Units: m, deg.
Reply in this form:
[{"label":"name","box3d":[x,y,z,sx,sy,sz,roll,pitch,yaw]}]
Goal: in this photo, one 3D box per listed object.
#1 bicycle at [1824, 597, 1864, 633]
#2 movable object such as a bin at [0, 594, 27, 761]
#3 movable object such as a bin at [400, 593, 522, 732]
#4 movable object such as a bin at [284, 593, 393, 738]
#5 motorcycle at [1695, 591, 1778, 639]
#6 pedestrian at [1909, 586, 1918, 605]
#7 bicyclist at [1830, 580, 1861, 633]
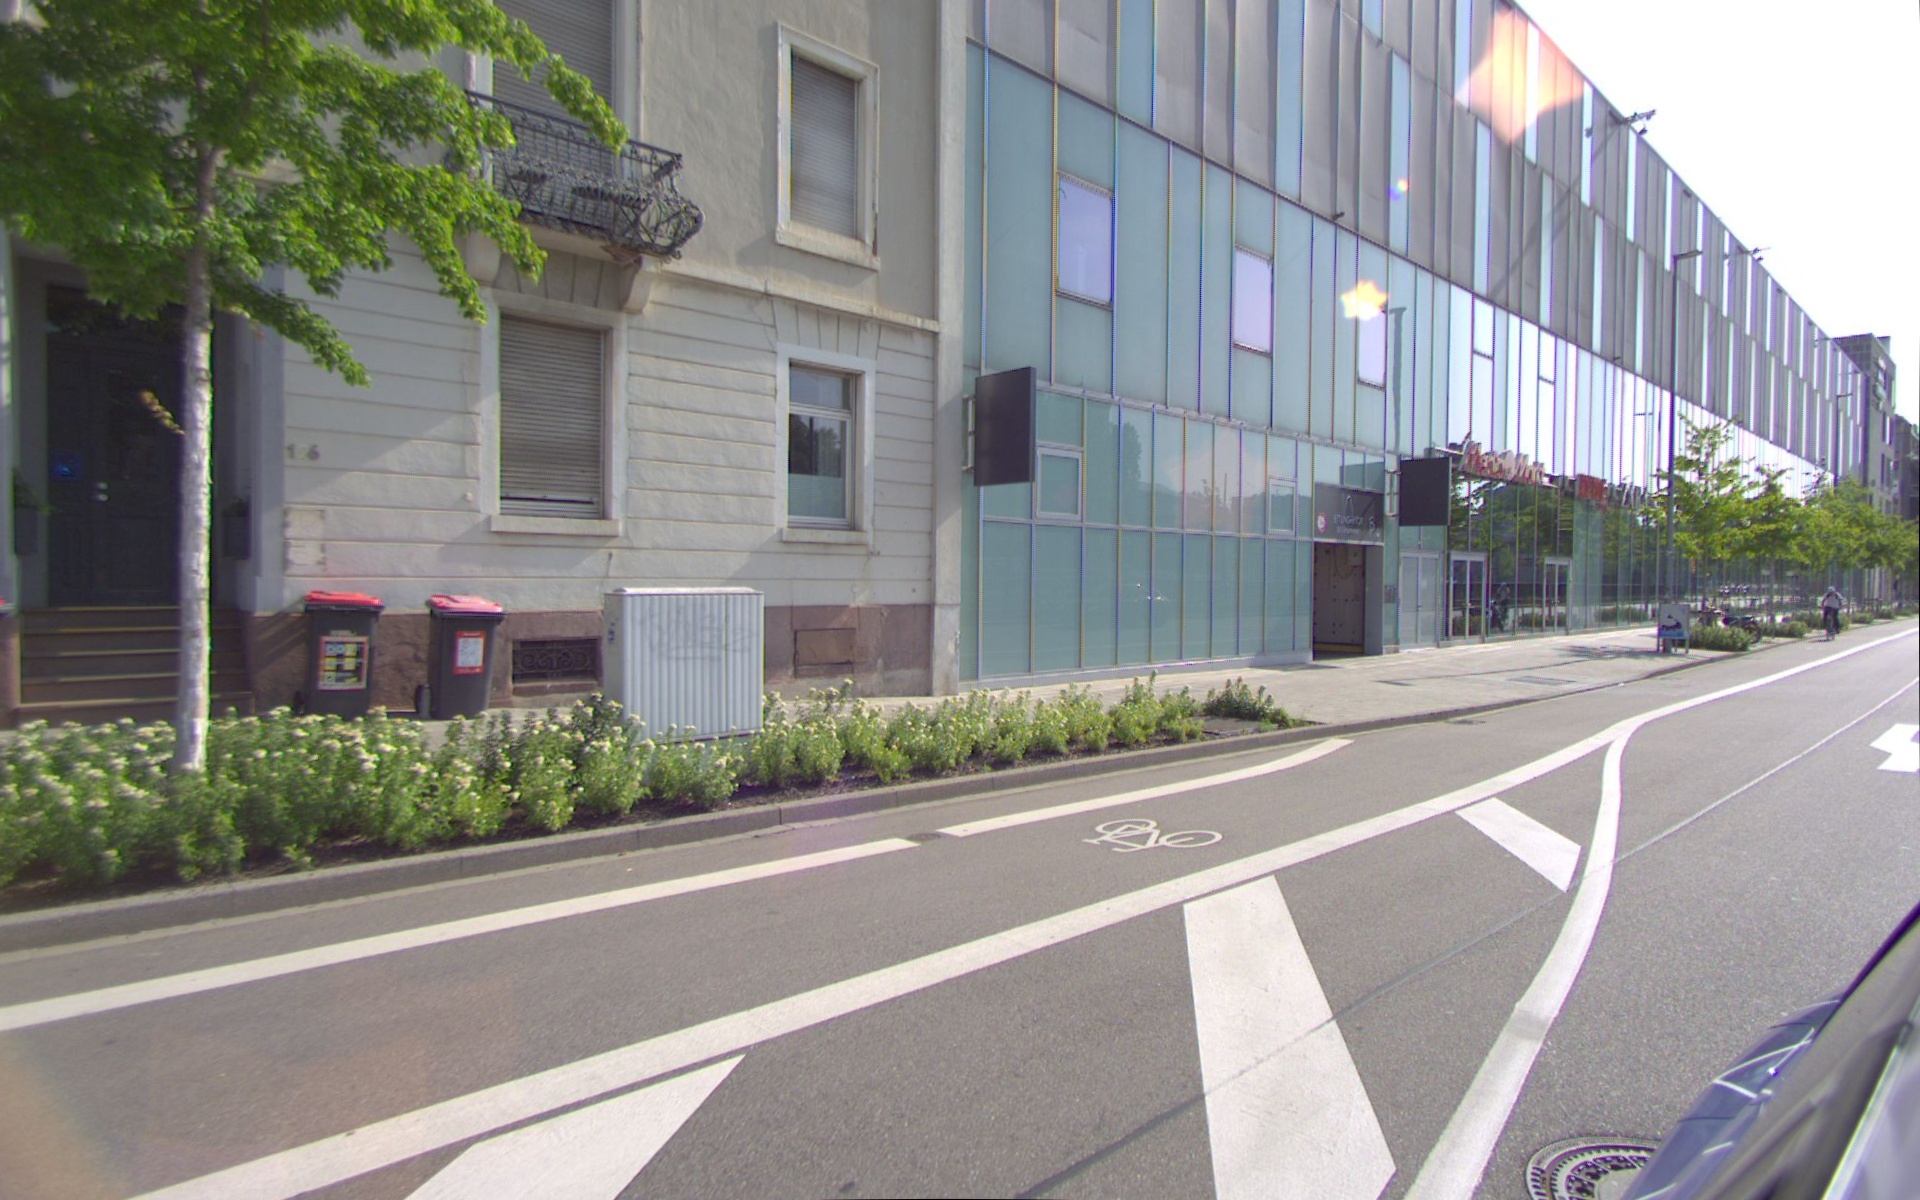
[{"label":"bicycle","box3d":[29.818,0.482,34.129,2.014,1.131,0.662,-1,1,-39]},{"label":"movable object such as a bin","box3d":[-7.035,0.534,6.951,0.659,1.167,0.617,1,-1,5]},{"label":"movable object such as a bin","box3d":[-4.543,0.538,9.211,0.794,1.187,0.782,2,-1,-42]},{"label":"movable object such as a bin","box3d":[-5.317,0.532,8.649,0.659,1.167,0.705,2,-1,-42]},{"label":"motorcycle","box3d":[23.615,0.432,30.798,1.965,1.366,0.856,1,2,39]},{"label":"pedestrian","box3d":[82.067,-0.398,87.117,0.764,1.670,0.468,-1,1,-42]},{"label":"bicyclist","box3d":[29.958,0.202,34.231,0.755,1.770,0.652,-1,1,-39]}]
